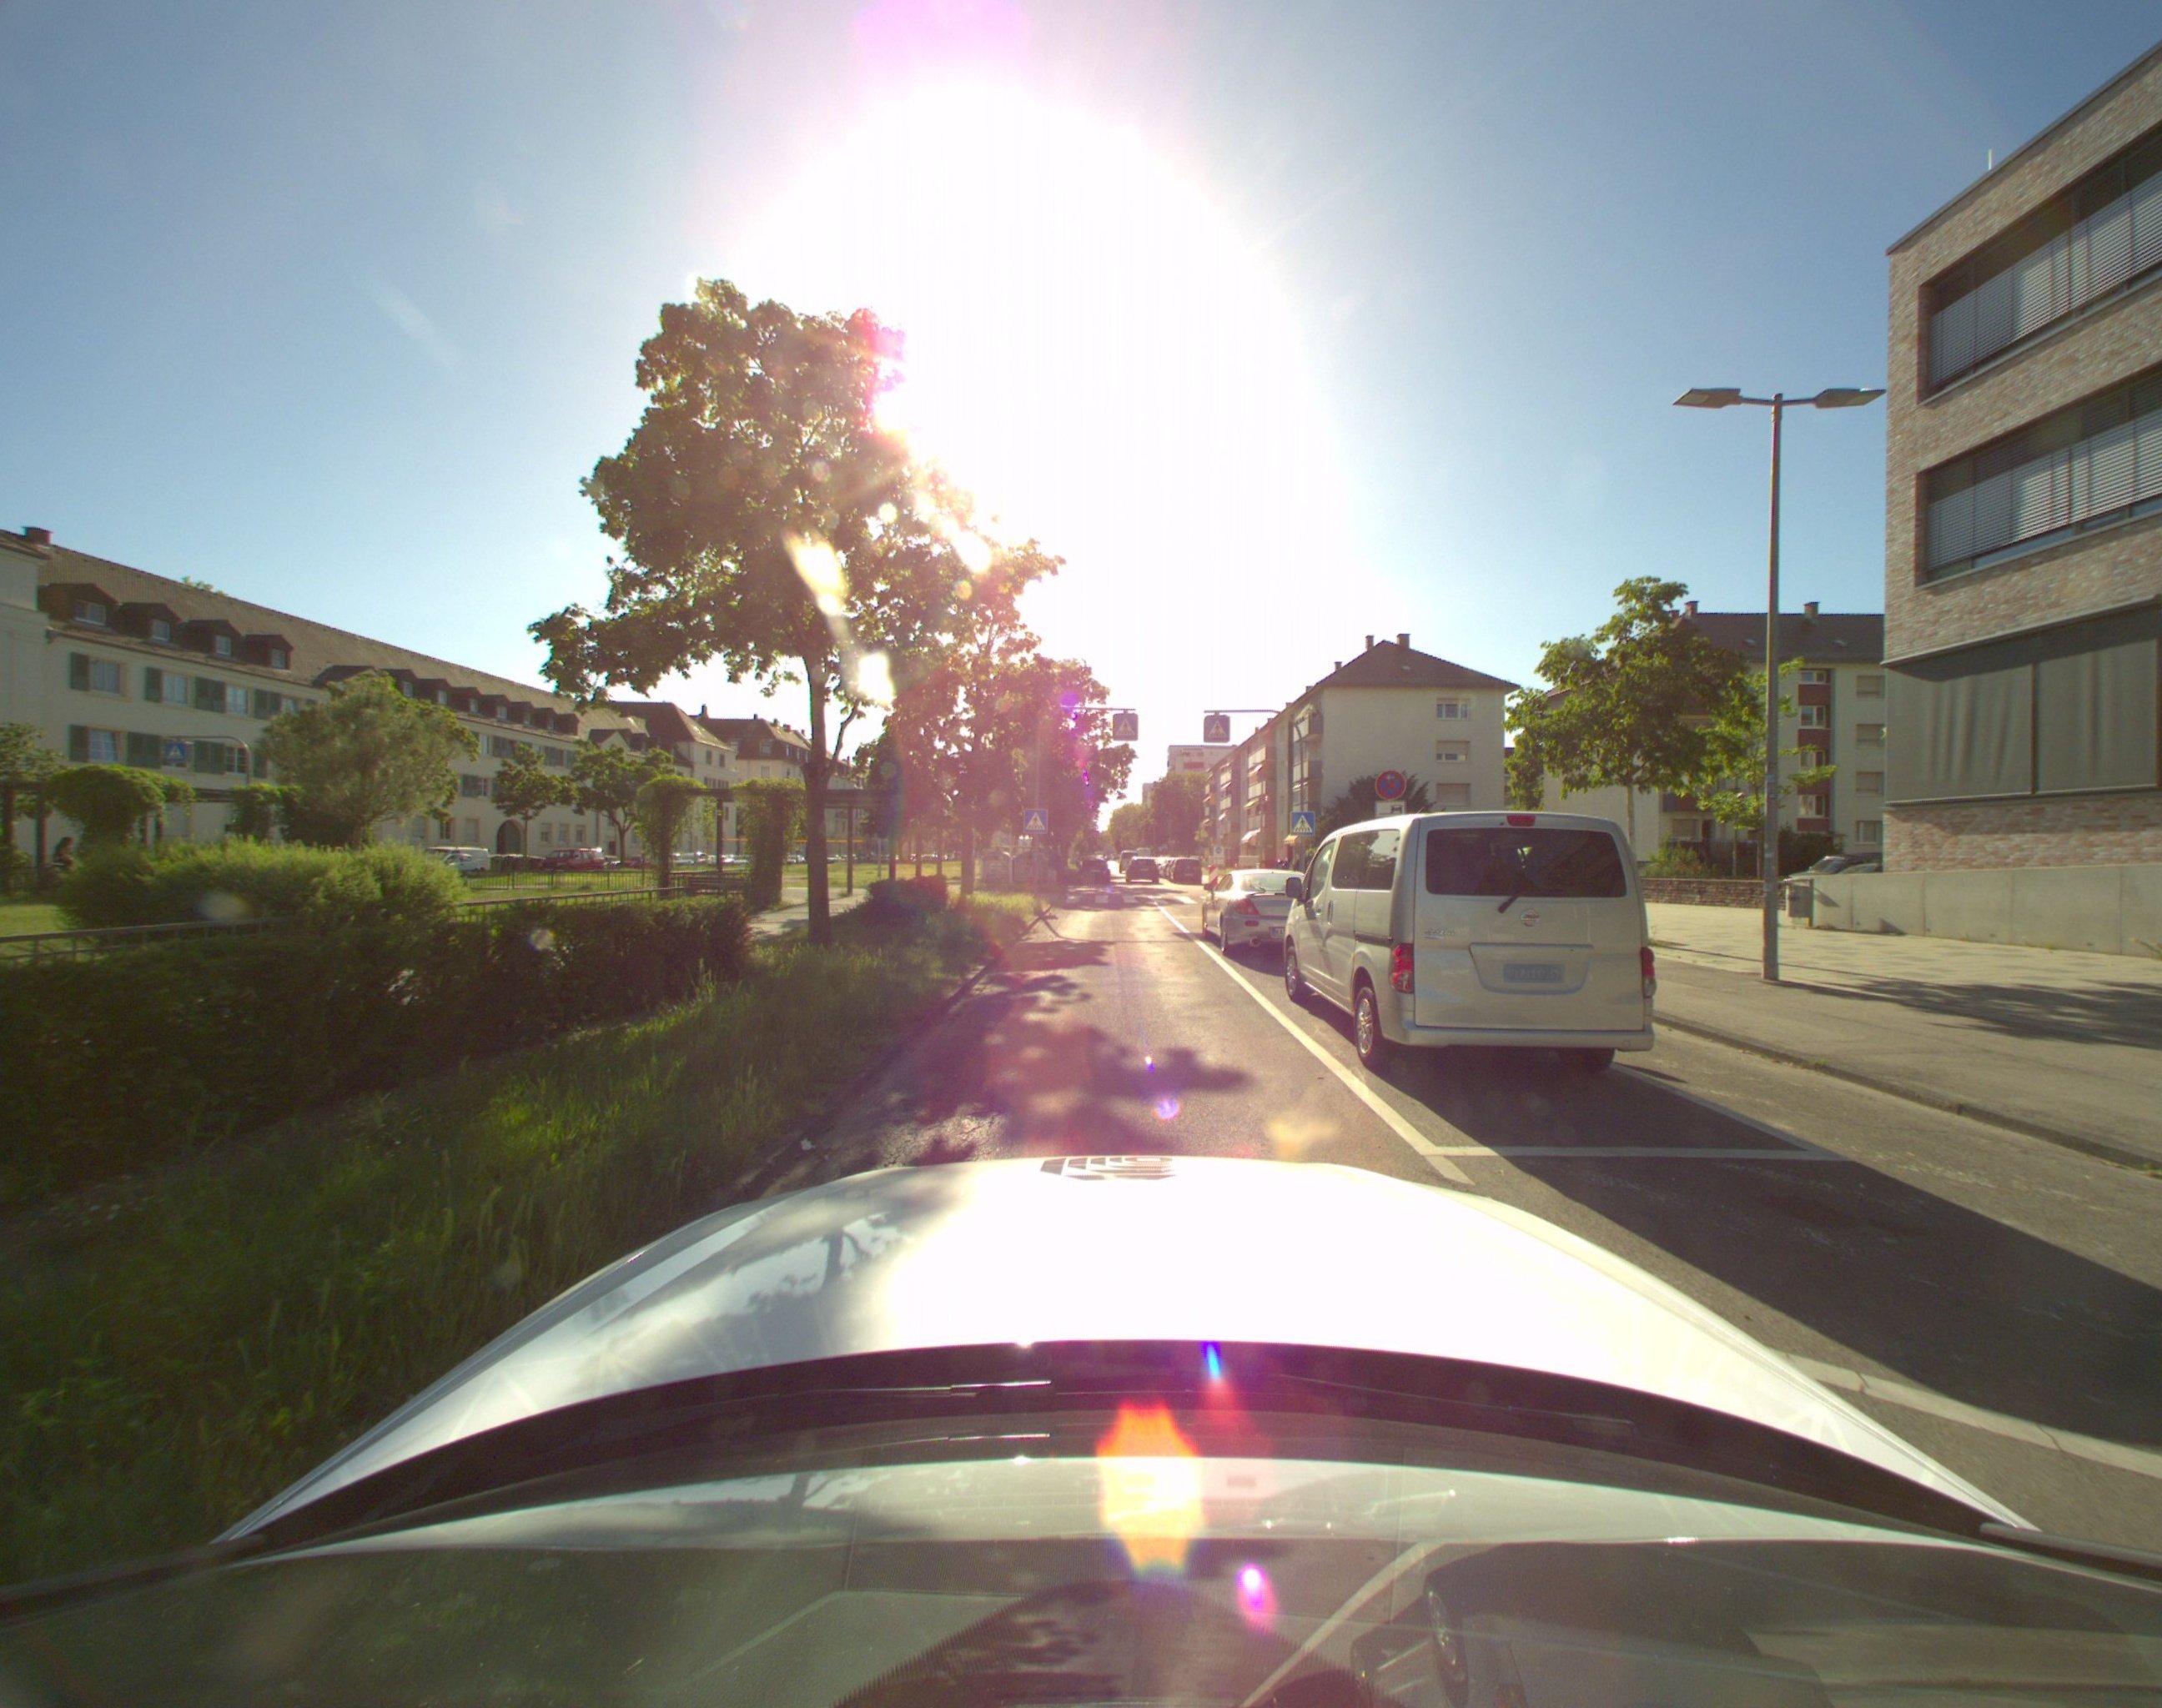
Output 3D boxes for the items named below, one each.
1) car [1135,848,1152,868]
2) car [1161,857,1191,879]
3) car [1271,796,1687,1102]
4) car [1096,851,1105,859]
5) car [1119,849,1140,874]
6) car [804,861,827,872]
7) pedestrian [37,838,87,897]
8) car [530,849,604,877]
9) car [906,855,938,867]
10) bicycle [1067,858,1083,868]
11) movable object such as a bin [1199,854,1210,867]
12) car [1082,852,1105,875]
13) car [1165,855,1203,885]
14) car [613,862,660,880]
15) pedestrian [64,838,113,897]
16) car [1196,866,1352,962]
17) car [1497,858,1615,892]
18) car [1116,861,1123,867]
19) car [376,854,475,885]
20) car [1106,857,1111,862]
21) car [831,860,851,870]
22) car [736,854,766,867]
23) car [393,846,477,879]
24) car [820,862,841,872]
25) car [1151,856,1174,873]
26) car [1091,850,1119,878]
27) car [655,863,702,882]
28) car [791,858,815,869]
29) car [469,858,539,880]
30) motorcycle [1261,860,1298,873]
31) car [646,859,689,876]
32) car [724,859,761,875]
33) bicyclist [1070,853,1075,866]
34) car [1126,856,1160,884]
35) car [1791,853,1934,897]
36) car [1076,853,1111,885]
[{"bbox_3d":[8.036,0.480,105.453,1.986,2.430,4.502,2,0,2],"label":"car"},{"bbox_3d":[6.758,0.945,57.985,1.787,1.510,4.002,0,0,2],"label":"car"},{"bbox_3d":[2.977,0.595,7.262,1.786,1.855,4.417,1,0,4],"label":"car"},{"bbox_3d":[4.067,0.216,169.833,1.787,1.510,4.002,0,0,2],"label":"car"},{"bbox_3d":[4.297,0.660,73.018,1.787,2.122,4.002,0,0,2],"label":"car"},{"bbox_3d":[-38.307,1.774,117.446,1.787,1.510,4.146,0,0,2],"label":"car"},{"bbox_3d":[-29.871,0.396,23.875,0.645,1.698,0.650,0,-1,2],"label":"pedestrian"},{"bbox_3d":[-33.692,0.568,53.554,1.787,1.710,4.704,0,0,2],"label":"car"},{"bbox_3d":[-21.733,0.933,111.224,3.977,1.510,1.799,0,0,-2],"label":"car"},{"bbox_3d":[-0.939,1.411,123.473,2.317,1.540,0.630,0,-1,-3],"label":"bicycle"},{"bbox_3d":[14.314,0.728,94.279,1.087,1.510,2.003,0,0,2],"label":"movable object such as a bin"},{"bbox_3d":[1.170,0.858,73.881,1.986,2.014,4.002,0,0,2],"label":"car"},{"bbox_3d":[5.889,0.898,46.896,1.787,1.601,4.002,1,0,2],"label":"car"},{"bbox_3d":[-38.735,1.439,71.034,1.787,1.510,4.002,0,0,2],"label":"car"},{"bbox_3d":[-29.060,0.396,23.851,0.645,1.698,0.650,0,-1,2],"label":"pedestrian"},{"bbox_3d":[3.033,0.881,13.660,1.758,1.319,4.169,1,-1,2],"label":"car"},{"bbox_3d":[22.099,0.980,38.011,4.467,1.540,1.799,0,-2,-1],"label":"car"},{"bbox_3d":[9.067,2.390,192.305,1.787,1.510,4.002,0,0,2],"label":"car"},{"bbox_3d":[-33.765,0.755,42.093,1.787,1.510,4.002,0,0,2],"label":"car"},{"bbox_3d":[8.646,1.748,255.019,1.787,1.510,4.002,0,0,2],"label":"car"},{"bbox_3d":[-37.701,1.768,128.022,1.787,1.510,4.002,0,0,2],"label":"car"},{"bbox_3d":[-38.742,0.713,95.764,1.787,1.510,4.002,0,0,2],"label":"car"},{"bbox_3d":[-39.113,0.482,49.428,1.787,1.909,4.002,0,0,2],"label":"car"},{"bbox_3d":[-37.867,1.918,123.051,1.788,1.510,4.001,0,0,1],"label":"car"},{"bbox_3d":[7.469,0.975,74.858,1.787,1.510,4.002,0,0,2],"label":"car"},{"bbox_3d":[1.844,0.745,61.888,1.986,2.014,4.002,0,0,2],"label":"car"},{"bbox_3d":[-33.541,1.542,67.961,1.787,1.510,4.002,0,0,2],"label":"car"},{"bbox_3d":[-38.413,1.299,112.446,1.787,1.510,4.002,0,0,2],"label":"car"},{"bbox_3d":[-39.192,0.983,55.403,1.787,1.384,4.002,0,0,2],"label":"car"},{"bbox_3d":[14.541,0.886,59.632,2.551,0.935,0.830,1,0,-2],"label":"motorcycle"},{"bbox_3d":[-38.725,1.285,76.382,1.787,1.510,4.002,0,0,2],"label":"car"},{"bbox_3d":[-33.101,1.225,79.774,1.787,1.510,4.002,0,0,2],"label":"car"},{"bbox_3d":[-1.274,0.808,123.460,0.768,1.920,0.630,0,-1,-3],"label":"bicyclist"},{"bbox_3d":[3.471,0.883,46.266,1.787,1.510,4.002,0,0,2],"label":"car"},{"bbox_3d":[33.629,0.896,35.129,4.467,1.822,1.799,0,-2,-1],"label":"car"},{"bbox_3d":[0.737,0.801,44.991,1.787,1.624,4.002,1,0,2],"label":"car"}]
